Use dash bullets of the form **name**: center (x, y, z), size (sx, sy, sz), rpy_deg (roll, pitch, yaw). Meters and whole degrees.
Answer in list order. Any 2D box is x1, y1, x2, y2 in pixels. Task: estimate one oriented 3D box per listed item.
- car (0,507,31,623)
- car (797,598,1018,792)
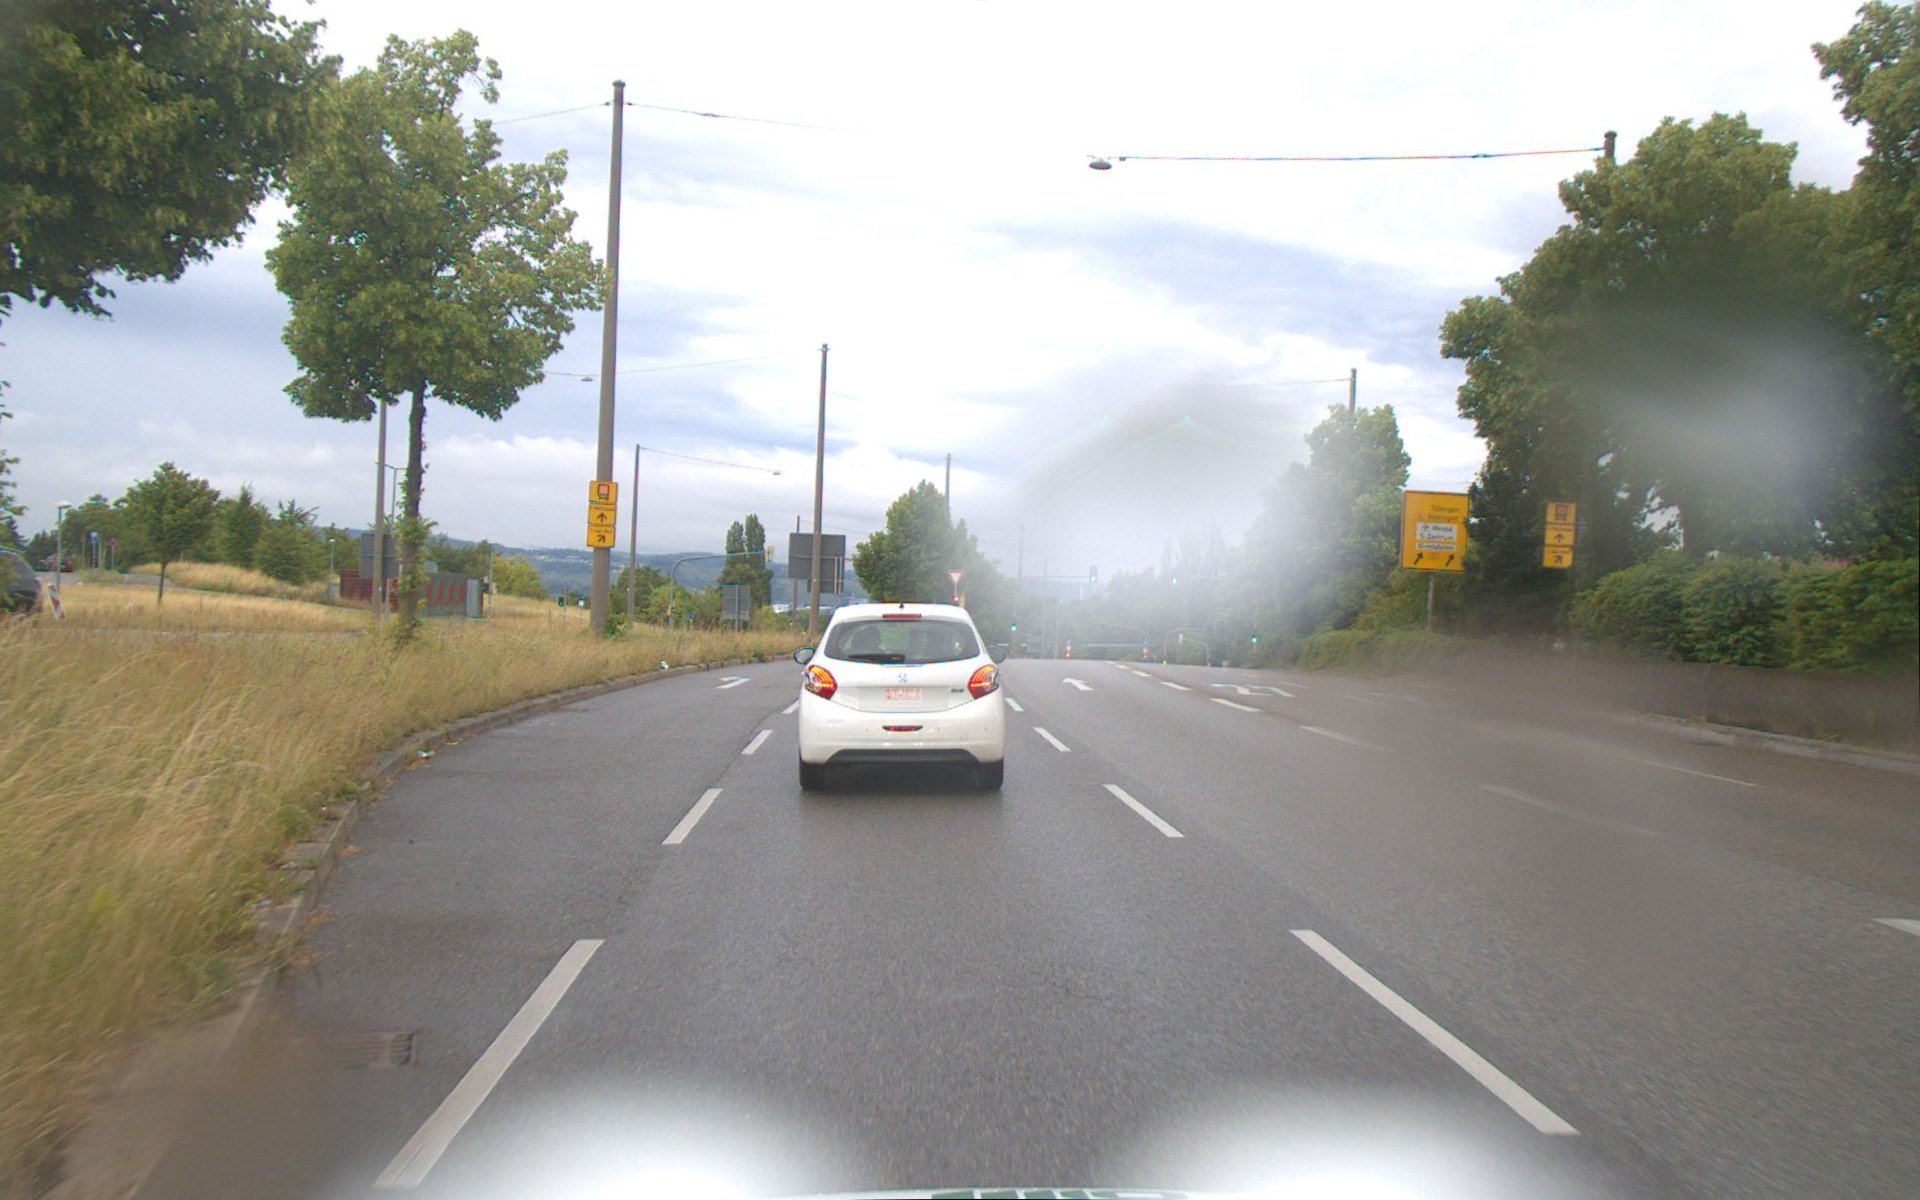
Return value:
- **car**: center (-15.533, -0.558, 23.983), size (1.731, 1.780, 4.001), rpy_deg (2, 0, 1)
- **car**: center (-0.501, 0.722, 14.395), size (1.674, 1.465, 3.688), rpy_deg (0, 0, -3)
